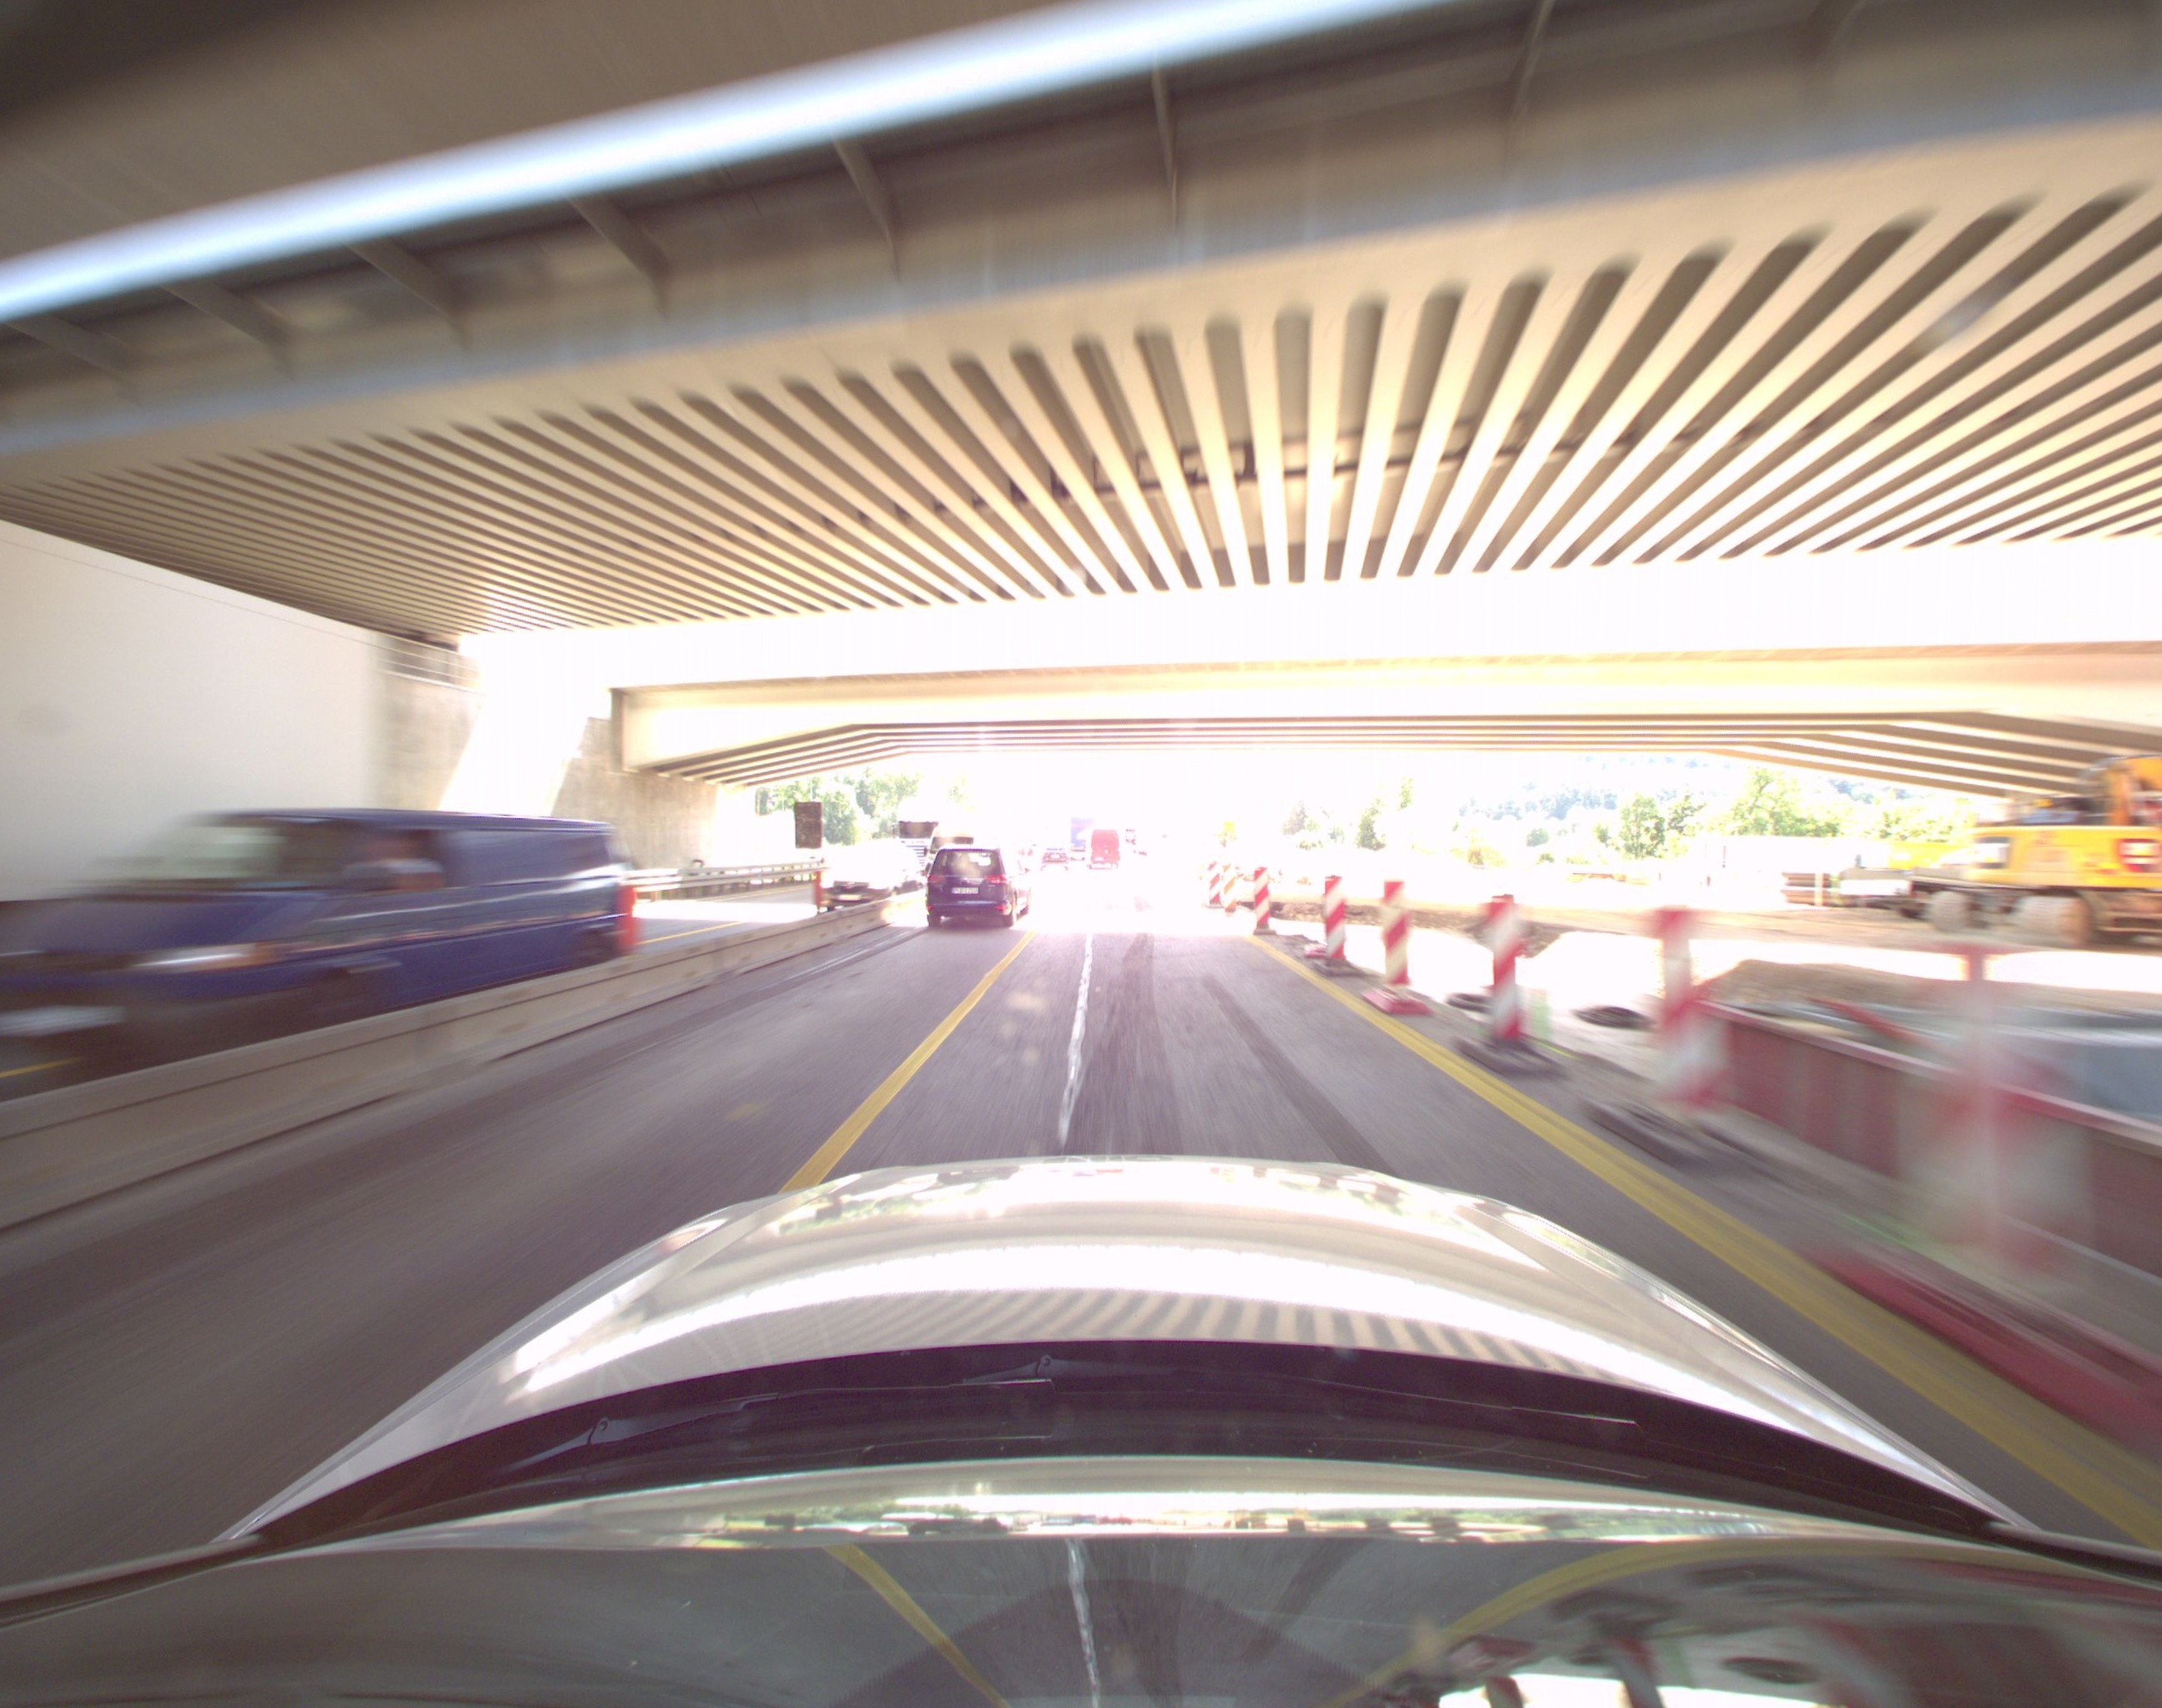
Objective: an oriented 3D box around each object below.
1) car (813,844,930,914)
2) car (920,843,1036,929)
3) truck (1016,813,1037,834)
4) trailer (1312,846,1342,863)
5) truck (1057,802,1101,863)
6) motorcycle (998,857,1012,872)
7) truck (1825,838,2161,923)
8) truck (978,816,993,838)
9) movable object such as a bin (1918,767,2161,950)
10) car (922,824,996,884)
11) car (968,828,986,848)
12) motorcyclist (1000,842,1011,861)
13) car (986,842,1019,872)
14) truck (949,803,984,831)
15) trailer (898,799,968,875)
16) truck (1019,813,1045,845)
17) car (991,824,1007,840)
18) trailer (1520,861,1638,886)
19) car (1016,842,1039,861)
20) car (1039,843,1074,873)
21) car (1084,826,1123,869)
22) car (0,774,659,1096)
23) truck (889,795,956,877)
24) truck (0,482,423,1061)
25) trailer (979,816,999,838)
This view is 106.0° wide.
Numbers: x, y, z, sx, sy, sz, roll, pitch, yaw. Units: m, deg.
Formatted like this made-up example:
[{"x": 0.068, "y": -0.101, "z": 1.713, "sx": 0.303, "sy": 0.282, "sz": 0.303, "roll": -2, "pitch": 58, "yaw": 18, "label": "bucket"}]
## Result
[{"x": -5.236, "y": 0.583, "z": 20.931, "sx": 1.741, "sy": 1.609, "sz": 4.144, "roll": 0, "pitch": 0, "yaw": 3, "label": "car"}, {"x": -2.082, "y": 0.607, "z": 17.706, "sx": 1.726, "sy": 1.635, "sz": 4.393, "roll": 0, "pitch": 0, "yaw": 3, "label": "car"}, {"x": -9.928, "y": -5.482, "z": 147.219, "sx": 3.216, "sy": 3.360, "sz": 8.917, "roll": 0, "pitch": -1, "yaw": -7, "label": "truck"}, {"x": 23.540, "y": 0.032, "z": 78.150, "sx": 1.619, "sy": 1.486, "sz": 3.824, "roll": 1, "pitch": 1, "yaw": -2, "label": "trailer"}, {"x": -0.263, "y": -1.888, "z": 69.573, "sx": 2.943, "sy": 4.944, "sz": 6.725, "roll": 0, "pitch": 2, "yaw": -8, "label": "truck"}, {"x": -5.847, "y": 0.812, "z": 62.959, "sx": 0.830, "sy": 1.150, "sz": 2.790, "roll": 0, "pitch": 0, "yaw": -1, "label": "motorcycle"}, {"x": 24.920, "y": 0.669, "z": 22.265, "sx": 6.490, "sy": 2.073, "sz": 2.669, "roll": 1, "pitch": 0, "yaw": 5, "label": "truck"}, {"x": -18.987, "y": -5.369, "z": 162.339, "sx": 2.618, "sy": 4.269, "sz": 4.729, "roll": 1, "pitch": 2, "yaw": -2, "label": "truck"}, {"x": 21.187, "y": 0.110, "z": 17.272, "sx": 3.855, "sy": 3.543, "sz": 2.913, "roll": 1, "pitch": -1, "yaw": 13, "label": "movable object such as a bin"}, {"x": -5.123, "y": -0.008, "z": 35.079, "sx": 1.972, "sy": 2.330, "sz": 6.063, "roll": 0, "pitch": 0, "yaw": 3, "label": "car"}, {"x": -13.266, "y": -1.983, "z": 103.813, "sx": 2.071, "sy": 2.503, "sz": 6.462, "roll": 0, "pitch": 0, "yaw": -10, "label": "car"}, {"x": -5.840, "y": -0.179, "z": 63.229, "sx": 0.808, "sy": 1.416, "sz": 0.742, "roll": 0, "pitch": -1, "yaw": 0, "label": "motorcyclist"}, {"x": -4.653, "y": 0.153, "z": 48.542, "sx": 1.742, "sy": 1.670, "sz": 4.075, "roll": 0, "pitch": 1, "yaw": -3, "label": "car"}, {"x": -19.063, "y": -6.133, "z": 136.947, "sx": 2.795, "sy": 4.341, "sz": 15.390, "roll": 0, "pitch": 2, "yaw": 3, "label": "truck"}, {"x": -8.943, "y": -1.011, "z": 50.801, "sx": 2.872, "sy": 4.039, "sz": 14.333, "roll": 1, "pitch": 1, "yaw": -5, "label": "trailer"}, {"x": -6.433, "y": -3.268, "z": 106.045, "sx": 3.177, "sy": 3.988, "sz": 6.731, "roll": 0, "pitch": 2, "yaw": -5, "label": "truck"}, {"x": -12.393, "y": -3.361, "z": 122.748, "sx": 2.261, "sy": 2.354, "sz": 5.153, "roll": 0, "pitch": 3, "yaw": -4, "label": "car"}, {"x": 25.087, "y": 1.002, "z": 41.120, "sx": 4.695, "sy": 1.219, "sz": 2.056, "roll": 0, "pitch": -1, "yaw": 1, "label": "trailer"}, {"x": -5.076, "y": -0.255, "z": 76.967, "sx": 1.832, "sy": 1.635, "sz": 4.096, "roll": 0, "pitch": 2, "yaw": -8, "label": "car"}, {"x": -1.409, "y": 0.197, "z": 49.089, "sx": 1.827, "sy": 1.635, "sz": 4.392, "roll": 0, "pitch": 1, "yaw": 2, "label": "car"}, {"x": 1.385, "y": -0.374, "z": 52.495, "sx": 2.144, "sy": 2.611, "sz": 5.434, "roll": 0, "pitch": -1, "yaw": -2, "label": "car"}, {"x": -6.038, "y": 0.480, "z": 7.388, "sx": 1.794, "sy": 1.932, "sz": 4.968, "roll": 0, "pitch": 0, "yaw": 0, "label": "car"}, {"x": -8.365, "y": -0.930, "z": 43.566, "sx": 2.868, "sy": 4.051, "sz": 4.878, "roll": 1, "pitch": 1, "yaw": -4, "label": "truck"}, {"x": -9.501, "y": -0.666, "z": 3.055, "sx": 2.759, "sy": 4.314, "sz": 13.493, "roll": 0, "pitch": -1, "yaw": 1, "label": "truck"}, {"x": -19.040, "y": -5.590, "z": 168.885, "sx": 2.639, "sy": 4.291, "sz": 13.308, "roll": 1, "pitch": 2, "yaw": 0, "label": "trailer"}]
